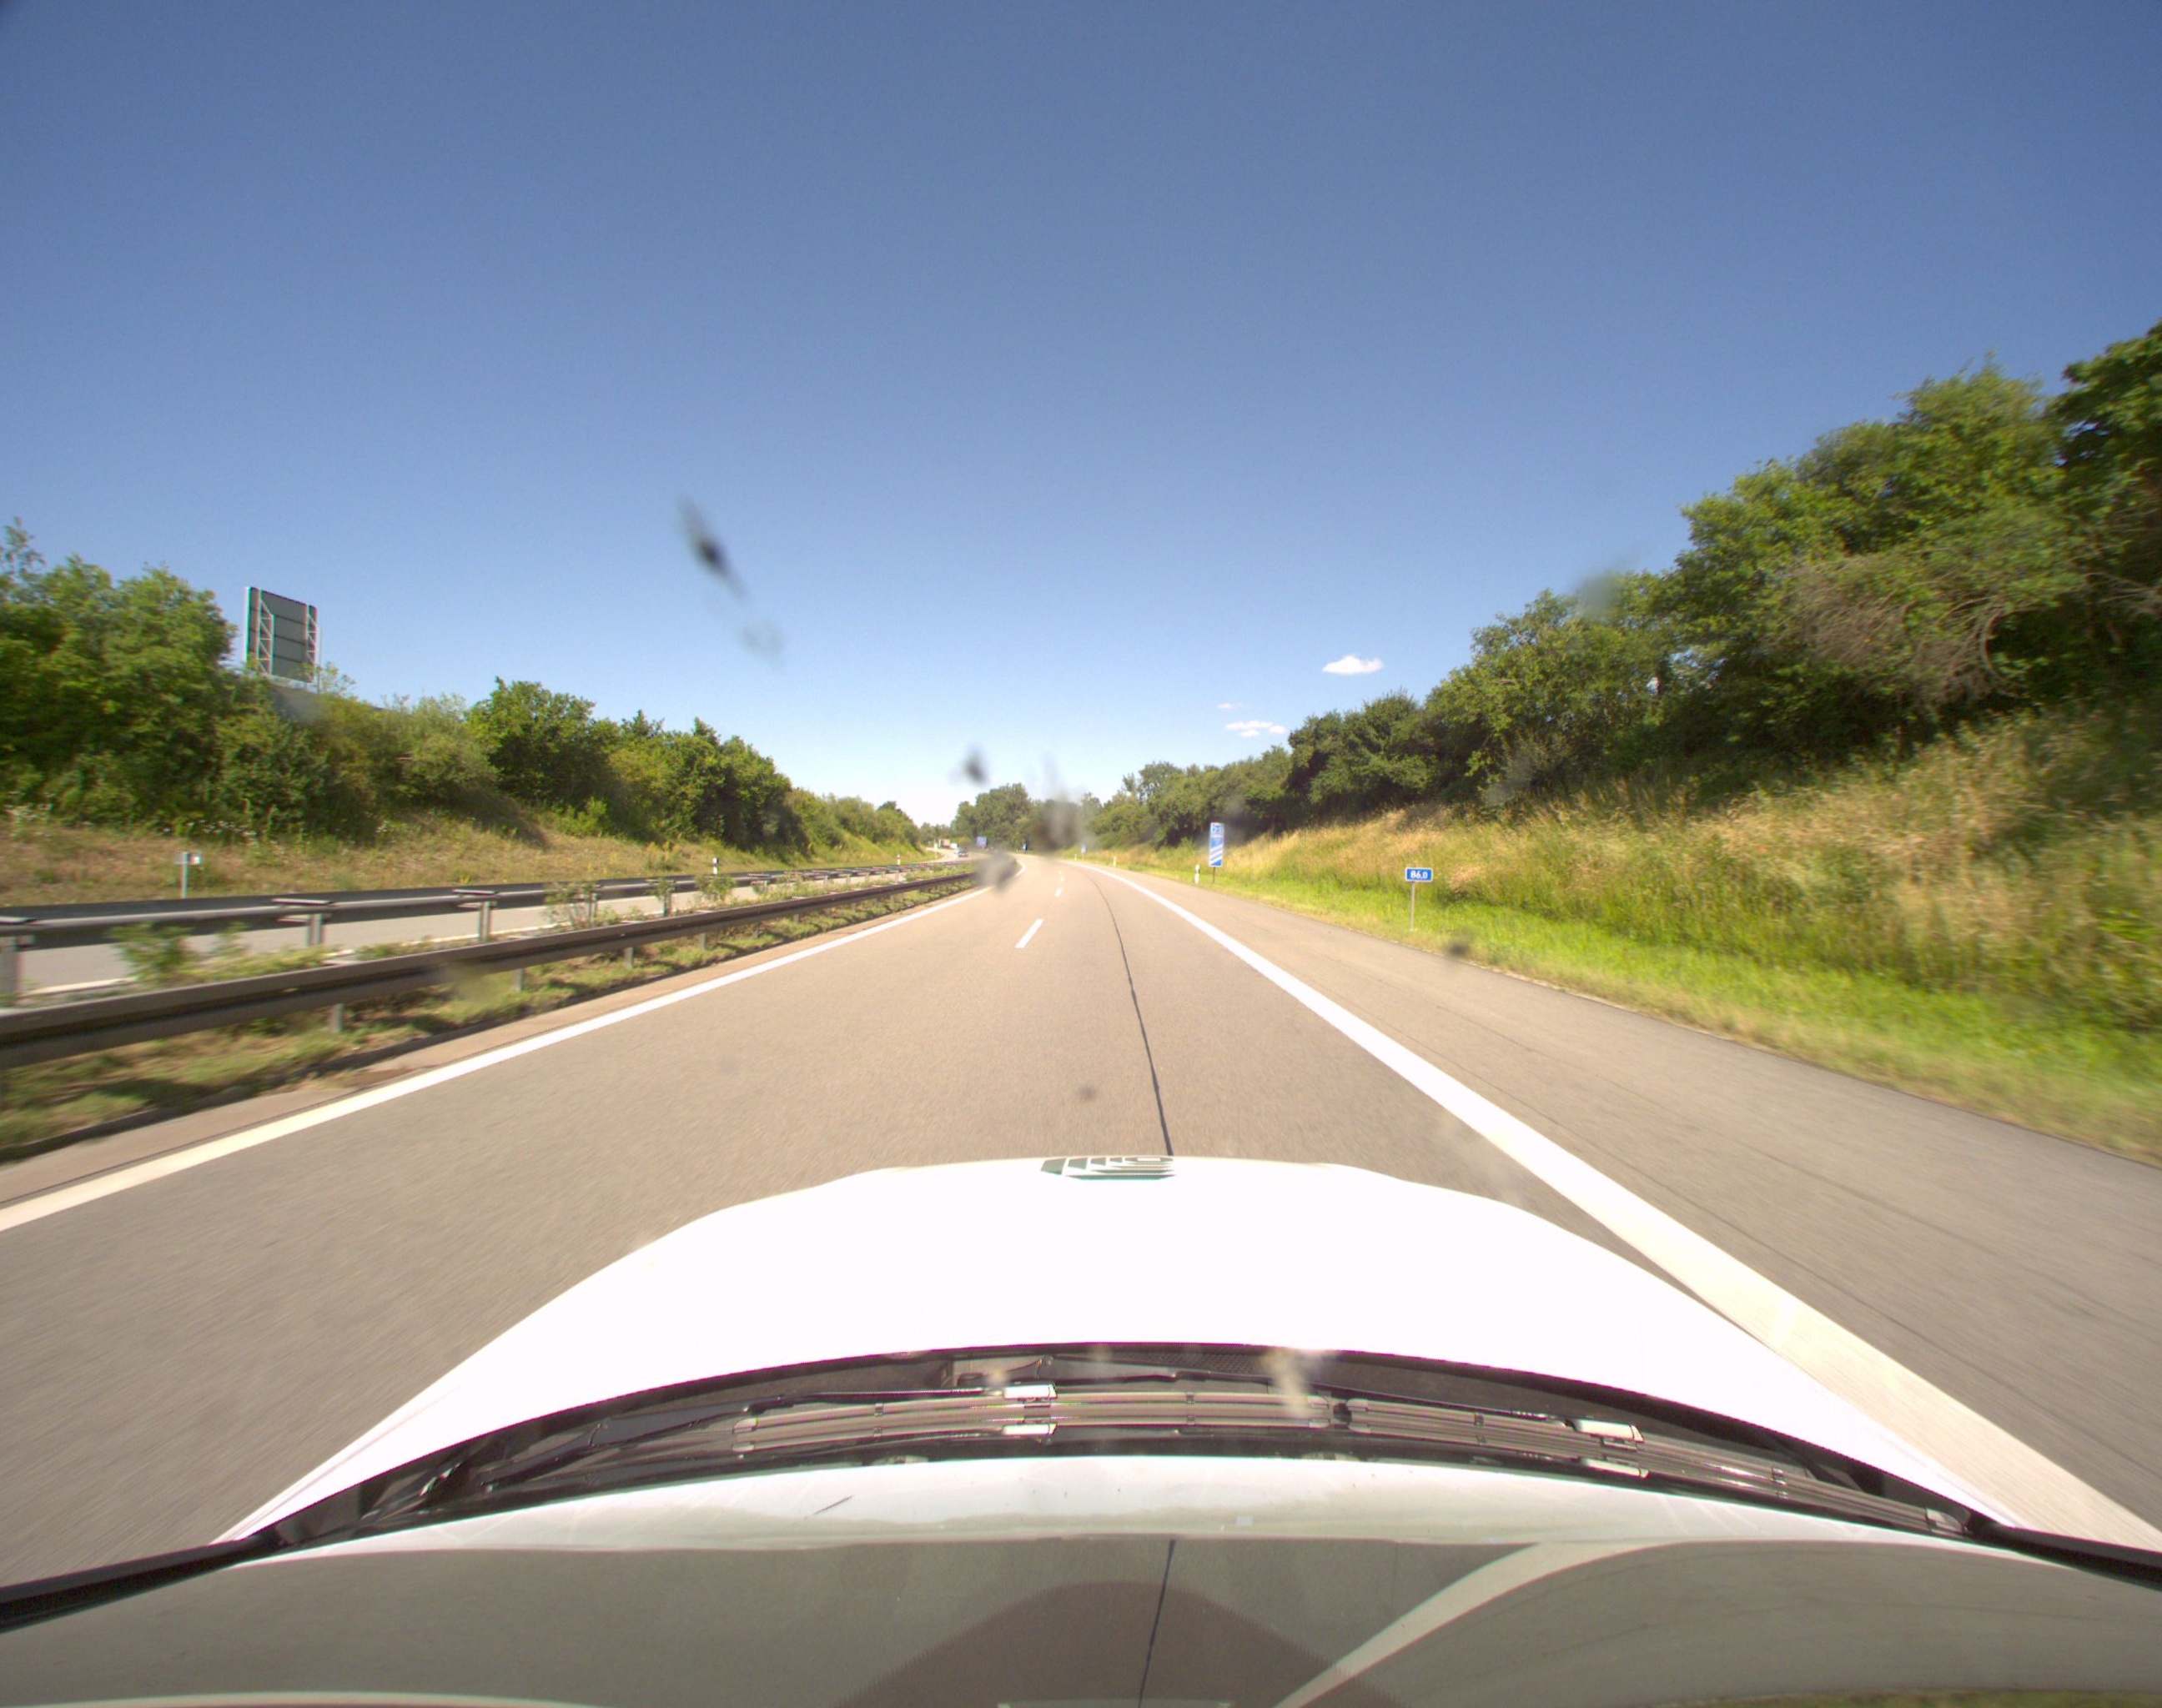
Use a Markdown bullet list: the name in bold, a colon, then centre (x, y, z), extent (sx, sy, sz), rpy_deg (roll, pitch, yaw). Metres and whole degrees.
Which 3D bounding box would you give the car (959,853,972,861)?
- **car**: centre (-22.739, 0.642, 160.330), extent (1.962, 1.564, 5.168), rpy_deg (-1, 0, -3)

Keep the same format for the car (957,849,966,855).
- **car**: centre (-31.732, -0.515, 216.398), extent (1.897, 1.422, 4.390), rpy_deg (-1, 1, -5)
